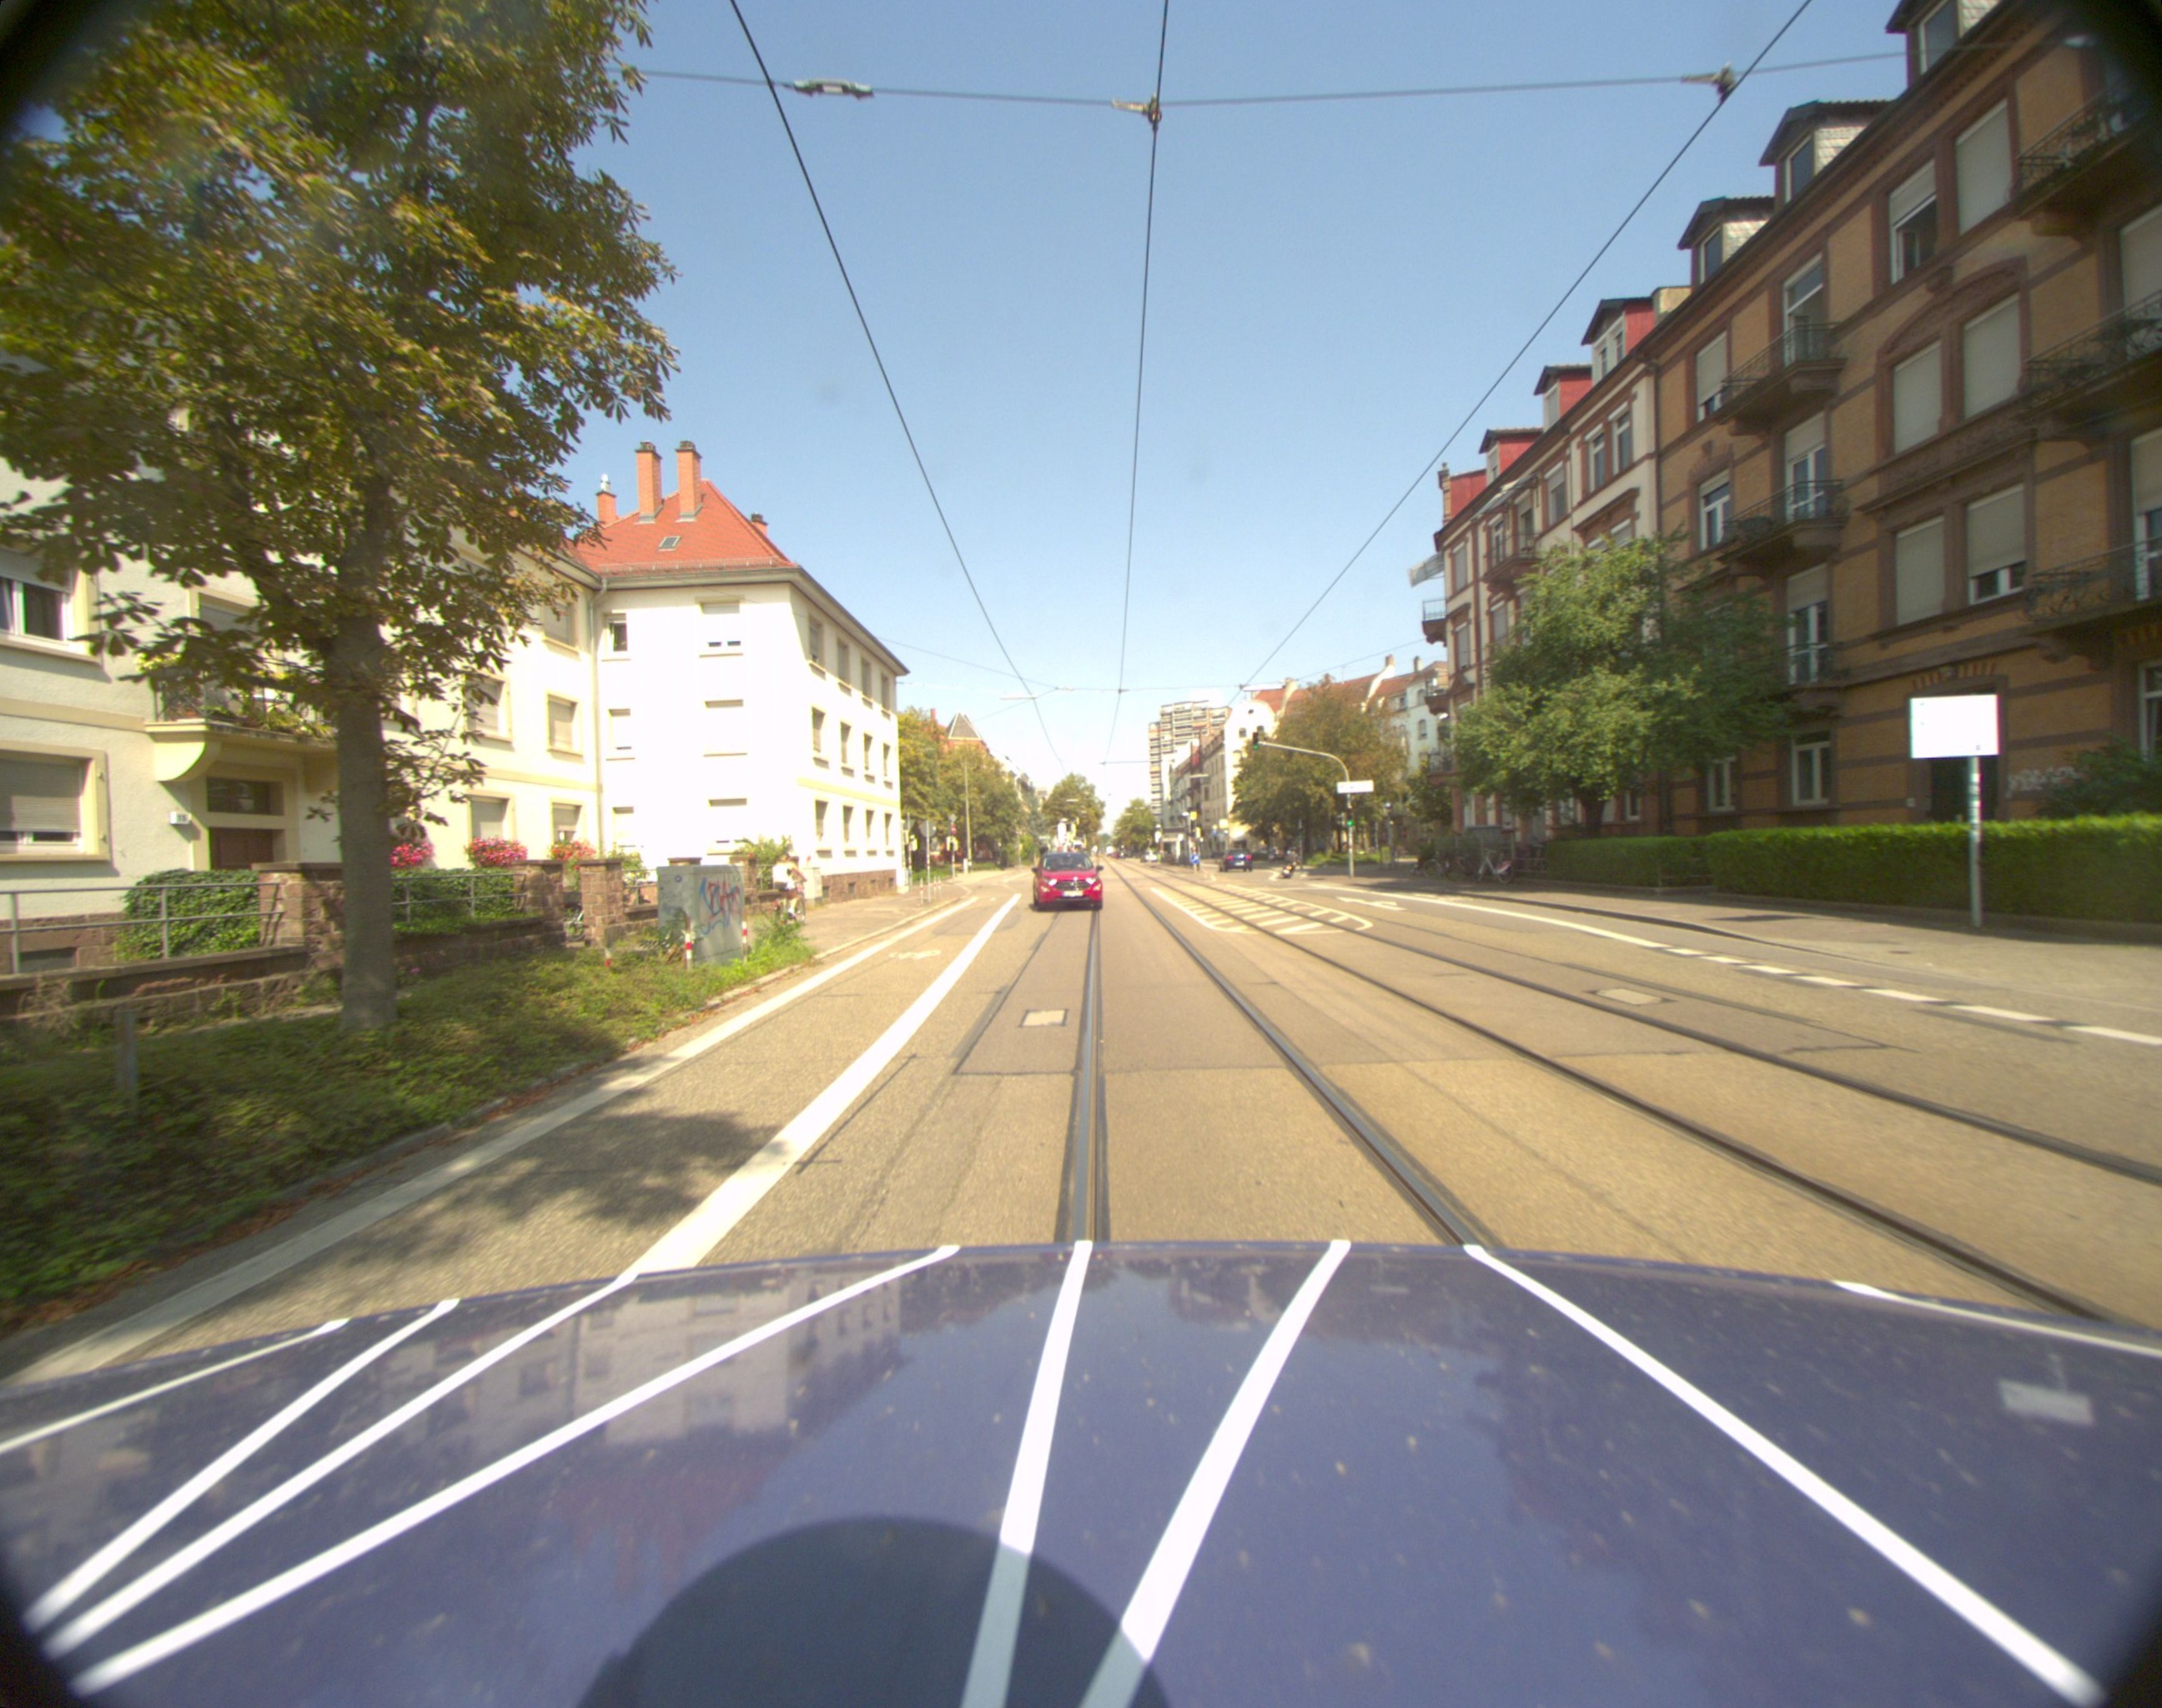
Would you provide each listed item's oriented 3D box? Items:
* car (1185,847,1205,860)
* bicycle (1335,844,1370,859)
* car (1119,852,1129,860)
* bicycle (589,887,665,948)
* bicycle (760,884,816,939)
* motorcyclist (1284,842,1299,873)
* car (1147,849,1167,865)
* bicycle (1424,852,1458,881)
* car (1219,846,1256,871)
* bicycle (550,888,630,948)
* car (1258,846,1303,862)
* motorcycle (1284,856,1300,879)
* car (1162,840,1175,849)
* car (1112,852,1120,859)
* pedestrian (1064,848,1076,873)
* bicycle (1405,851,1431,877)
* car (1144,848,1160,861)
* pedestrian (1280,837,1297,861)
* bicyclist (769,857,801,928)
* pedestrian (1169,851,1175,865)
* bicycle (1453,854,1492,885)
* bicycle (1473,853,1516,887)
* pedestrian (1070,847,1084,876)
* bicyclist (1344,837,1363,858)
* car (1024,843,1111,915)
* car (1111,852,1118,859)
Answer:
[{"bbox_3d":[14.820,-0.066,99.100,1.998,1.716,4.631,-1,0,2],"label":"car"},{"bbox_3d":[26.856,-0.240,75.230,1.224,1.428,3.479,-2,0,-21],"label":"bicycle"},{"bbox_3d":[9.040,0.466,161.065,1.998,1.716,4.631,-1,0,2],"label":"car"},{"bbox_3d":[-9.101,1.247,15.319,0.441,1.041,1.828,-2,1,-2],"label":"bicycle"},{"bbox_3d":[-6.436,1.239,16.783,0.441,1.041,1.829,-2,1,1],"label":"bicycle"},{"bbox_3d":[10.479,0.166,37.793,0.690,1.503,0.773,-2,1,16],"label":"motorcyclist"},{"bbox_3d":[8.882,0.343,89.246,1.998,1.716,4.631,-1,0,2],"label":"car"},{"bbox_3d":[13.091,0.445,27.676,0.488,1.016,1.778,-2,0,5],"label":"bicycle"},{"bbox_3d":[9.968,0.265,48.621,1.731,1.425,4.177,-3,0,4],"label":"car"},{"bbox_3d":[-9.970,1.275,15.500,0.441,1.041,1.828,-2,1,-2],"label":"bicycle"},{"bbox_3d":[22.936,0.036,87.312,2.004,1.716,4.618,-2,0,-45],"label":"car"},{"bbox_3d":[10.517,0.660,37.857,0.692,1.025,2.159,-2,0,16],"label":"motorcycle"},{"bbox_3d":[16.595,-1.818,144.190,1.998,1.716,4.631,-1,0,2],"label":"car"},{"bbox_3d":[8.852,0.341,192.317,1.998,1.716,4.631,-1,0,2],"label":"car"},{"bbox_3d":[-0.822,0.469,57.315,0.674,1.874,0.923,-2,1,12],"label":"pedestrian"},{"bbox_3d":[14.096,0.416,31.723,0.487,0.991,1.833,-2,0,39],"label":"bicycle"},{"bbox_3d":[10.031,0.087,107.376,1.998,1.716,4.632,-1,0,3],"label":"car"},{"bbox_3d":[17.655,-0.409,64.649,1.094,2.002,1.036,-4,1,1],"label":"pedestrian"},{"bbox_3d":[-6.454,0.829,16.598,0.438,1.503,0.472,-2,1,2],"label":"bicyclist"},{"bbox_3d":[8.083,0.322,67.595,0.479,1.243,0.648,-2,1,2],"label":"pedestrian"},{"bbox_3d":[12.760,0.483,24.800,0.488,0.936,1.657,-2,0,5],"label":"bicycle"},{"bbox_3d":[12.551,0.470,23.087,0.488,0.980,1.657,-2,0,5],"label":"bicycle"},{"bbox_3d":[-0.286,0.487,51.102,0.674,1.874,0.924,-2,1,13],"label":"pedestrian"},{"bbox_3d":[26.917,-0.683,75.046,1.210,2.002,1.209,-3,2,-20],"label":"bicyclist"},{"bbox_3d":[-0.500,0.668,21.761,1.804,1.801,4.413,-2,0,-10],"label":"car"},{"bbox_3d":[9.517,0.404,217.740,1.998,1.716,4.631,-1,0,2],"label":"car"}]
